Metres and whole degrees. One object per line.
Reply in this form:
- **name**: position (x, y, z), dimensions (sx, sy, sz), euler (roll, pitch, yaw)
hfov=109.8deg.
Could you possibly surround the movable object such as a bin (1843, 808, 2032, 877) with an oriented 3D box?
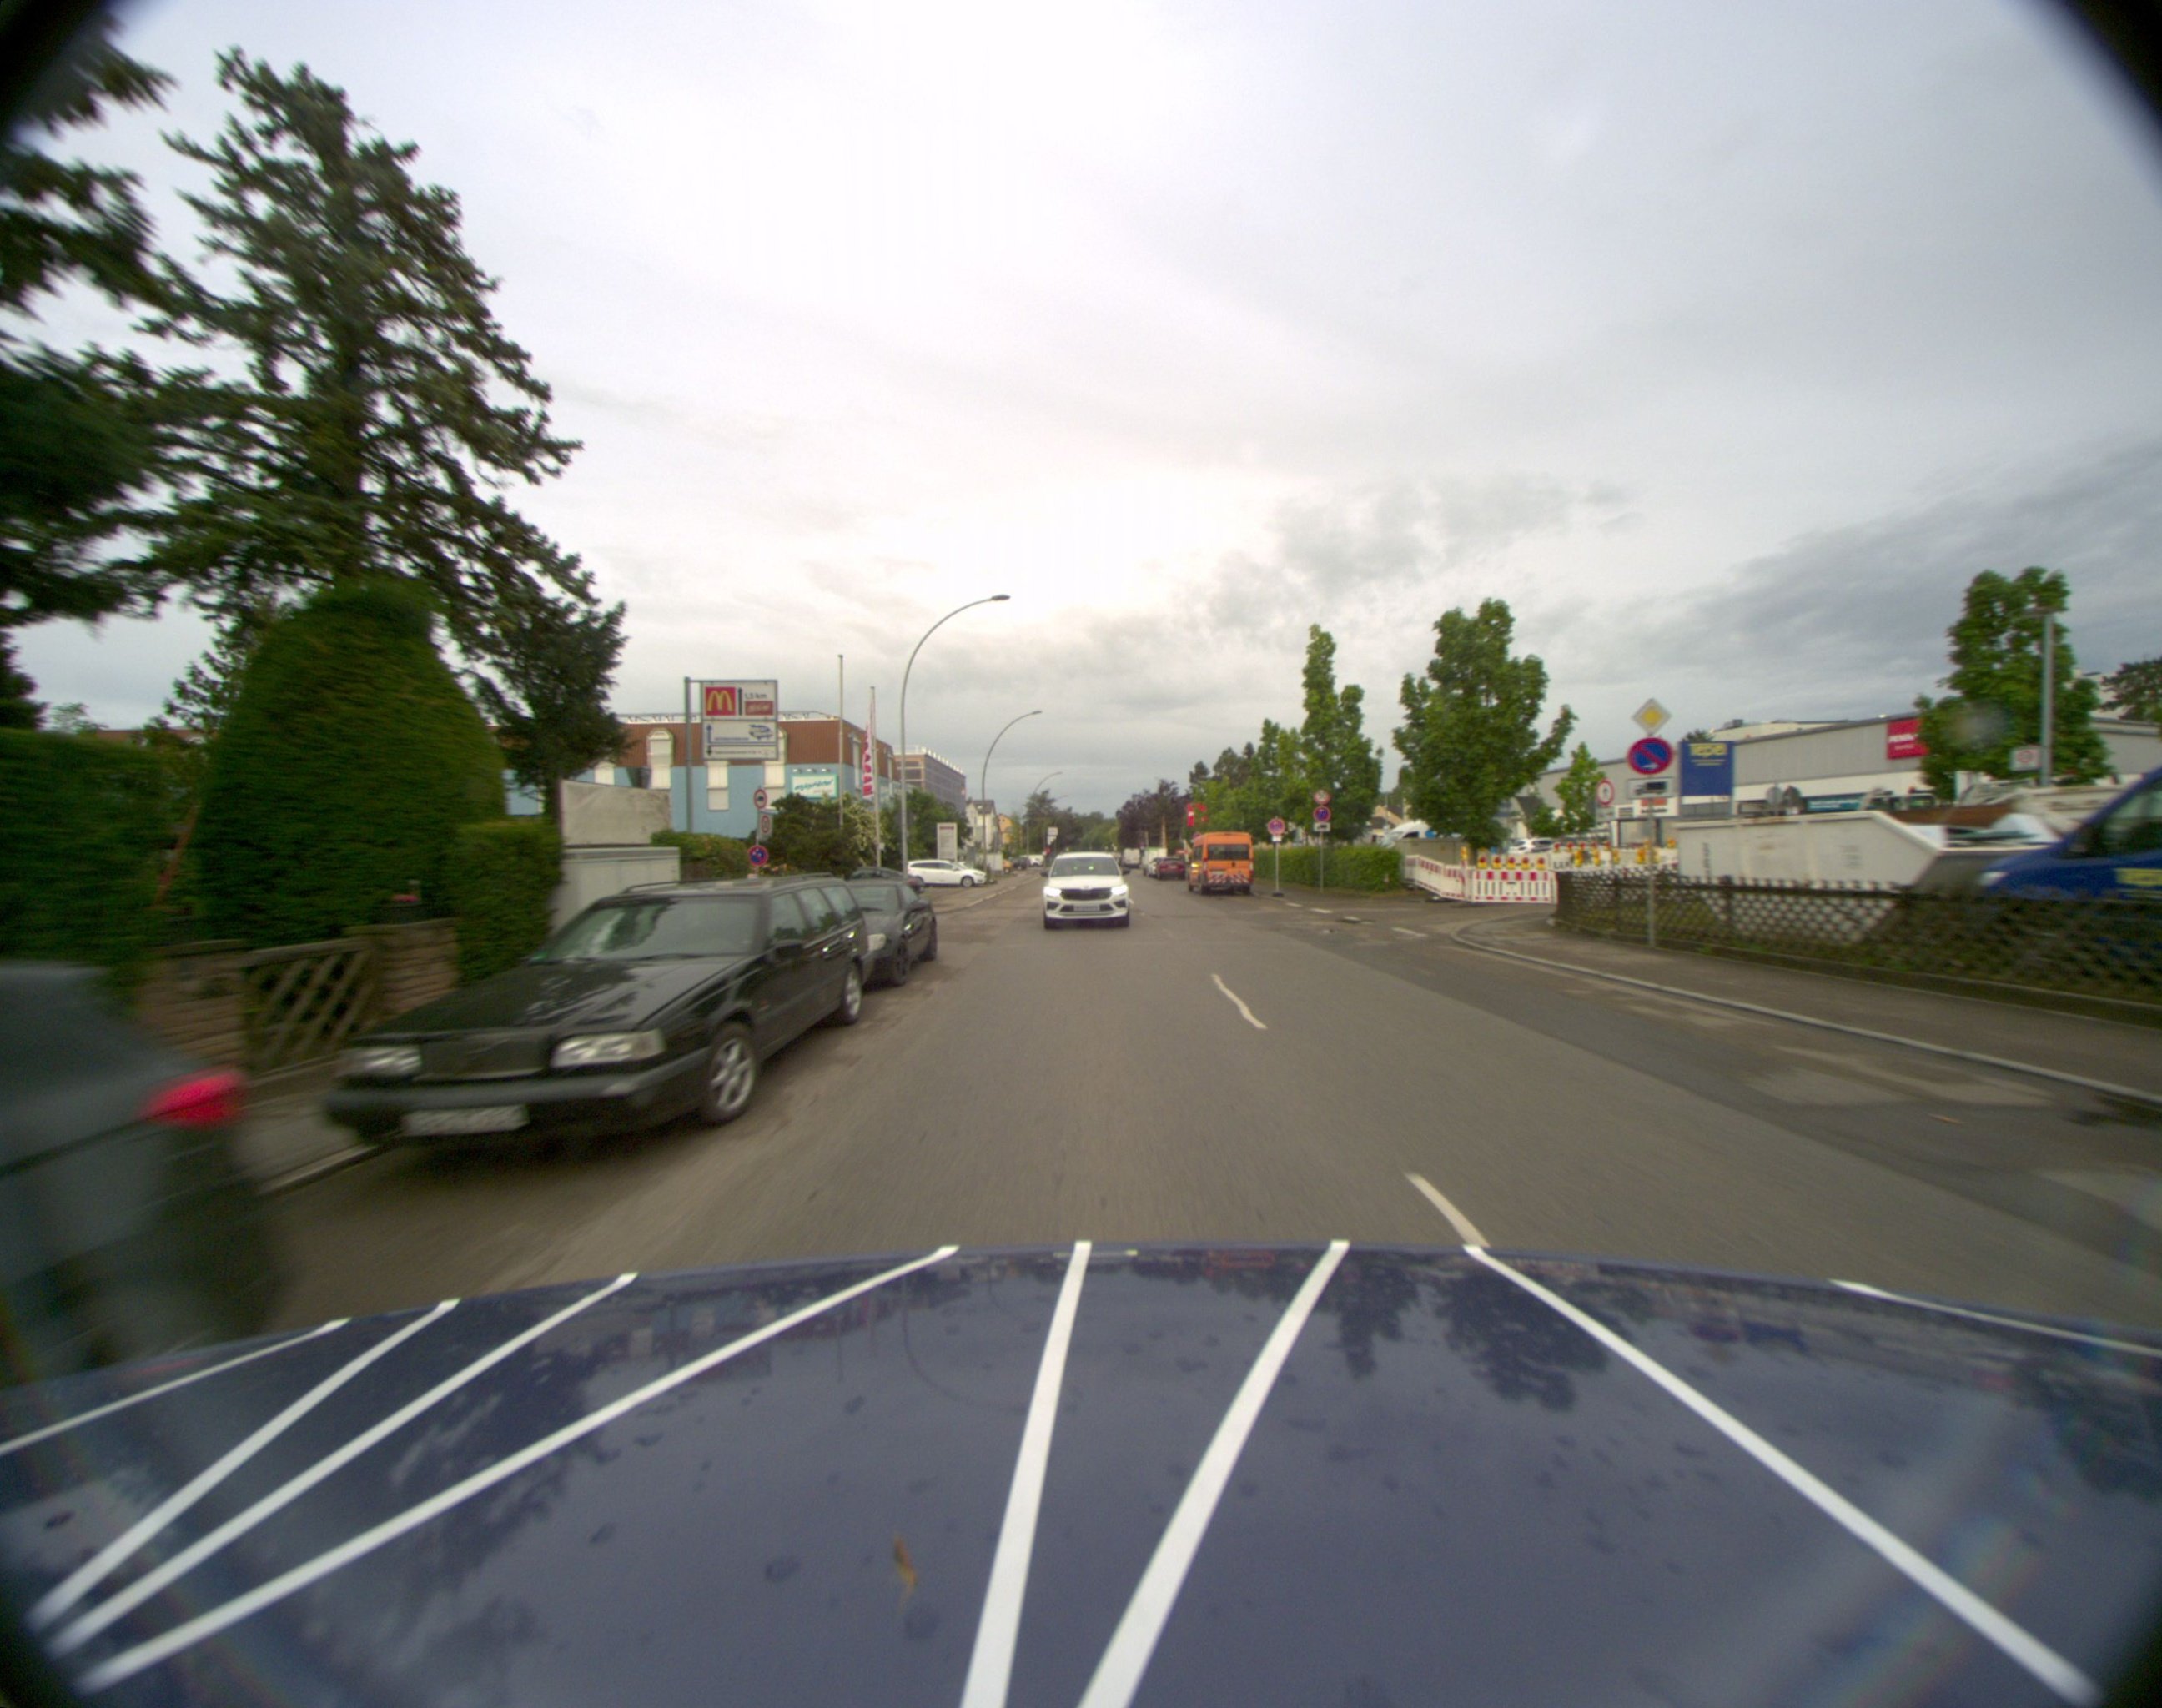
- **movable object such as a bin**: position (24.842, -0.339, 22.127), dimensions (3.432, 1.749, 1.999), euler (-3, 1, -6)

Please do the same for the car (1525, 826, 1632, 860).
- **car**: position (25.055, -0.540, 38.389), dimensions (4.064, 1.469, 1.917), euler (-3, 1, 2)

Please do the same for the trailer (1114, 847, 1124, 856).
- **trailer**: position (7.968, -0.469, 158.322), dimensions (1.934, 1.755, 4.547), euler (-2, 1, 1)

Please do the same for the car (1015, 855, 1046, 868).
- **car**: position (-7.491, 1.141, 112.770), dimensions (4.456, 1.615, 1.893), euler (-3, 1, 0)

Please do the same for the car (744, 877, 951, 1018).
- **car**: position (-2.994, 1.121, 10.651), dimensions (1.594, 1.333, 4.092), euler (-4, 1, -1)

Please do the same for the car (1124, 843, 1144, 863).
- **car**: position (6.935, -0.177, 99.963), dimensions (2.163, 2.413, 6.459), euler (1, 1, 1)

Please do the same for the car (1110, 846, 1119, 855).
- **car**: position (8.069, -0.858, 184.242), dimensions (1.898, 1.881, 5.209), euler (0, 1, 1)

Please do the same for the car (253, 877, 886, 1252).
- **car**: position (-2.922, 1.028, 5.844), dimensions (1.661, 1.411, 4.775), euler (-3, 1, -2)

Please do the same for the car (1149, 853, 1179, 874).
- **car**: position (6.266, 0.675, 57.772), dimensions (1.777, 1.490, 4.136), euler (-2, 0, 0)

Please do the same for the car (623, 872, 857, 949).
- **car**: position (-7.037, 1.139, 16.024), dimensions (3.997, 1.259, 1.950), euler (-3, 1, -1)

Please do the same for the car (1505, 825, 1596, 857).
- **car**: position (25.208, -0.699, 40.876), dimensions (3.901, 1.511, 1.694), euler (-3, 1, -4)

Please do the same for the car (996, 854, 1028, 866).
- **car**: position (-9.030, 0.776, 99.531), dimensions (3.976, 1.481, 1.833), euler (-2, 1, 2)

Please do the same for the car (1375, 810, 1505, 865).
- **car**: position (14.738, -0.683, 31.389), dimensions (4.317, 2.002, 2.062), euler (-3, 1, 1)

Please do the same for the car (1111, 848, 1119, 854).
- **car**: position (8.072, -0.682, 178.922), dimensions (1.821, 1.419, 4.980), euler (0, 1, 1)

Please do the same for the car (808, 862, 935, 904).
- **car**: position (-7.568, 1.038, 27.707), dimensions (3.996, 1.259, 1.951), euler (-3, 1, 3)

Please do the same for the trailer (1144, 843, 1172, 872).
- **trailer**: position (6.466, 0.270, 64.186), dimensions (1.817, 2.300, 4.729), euler (1, 1, 0)

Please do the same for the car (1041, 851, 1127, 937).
- **car**: position (0.011, 0.809, 17.703), dimensions (1.692, 1.651, 3.999), euler (-3, 1, -1)

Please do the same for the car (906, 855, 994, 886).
- **car**: position (-7.014, 0.870, 40.943), dimensions (4.349, 1.467, 1.902), euler (-2, 1, 0)

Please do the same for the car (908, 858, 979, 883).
- **car**: position (-9.297, 1.113, 51.742), dimensions (4.427, 1.385, 1.880), euler (-3, 0, -1)

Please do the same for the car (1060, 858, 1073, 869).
- **car**: position (-2.130, 1.418, 112.256), dimensions (1.743, 1.458, 4.544), euler (-3, 1, 0)

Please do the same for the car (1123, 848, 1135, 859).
- **car**: position (7.591, -0.087, 121.512), dimensions (1.665, 1.575, 3.915), euler (0, 1, 0)

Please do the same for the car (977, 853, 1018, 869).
- **car**: position (-8.433, 0.703, 77.123), dimensions (3.997, 1.422, 1.630), euler (-2, 1, -1)

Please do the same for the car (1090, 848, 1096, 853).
- **car**: position (3.941, -1.224, 247.684), dimensions (1.898, 1.678, 4.230), euler (0, 1, 1)

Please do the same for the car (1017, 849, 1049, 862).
- **car**: position (-7.419, 0.217, 118.172), dimensions (4.743, 1.875, 2.000), euler (-3, 1, 1)

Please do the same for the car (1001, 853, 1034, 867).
- **car**: position (-8.470, 0.764, 101.672), dimensions (4.237, 1.665, 1.980), euler (-3, 1, 0)

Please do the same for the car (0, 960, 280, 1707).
- **car**: position (-3.034, 1.047, 0.131), dimensions (1.661, 1.440, 3.829), euler (-3, 0, 0)

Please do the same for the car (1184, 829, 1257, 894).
- **car**: position (5.962, 0.278, 33.222), dimensions (2.130, 2.523, 6.021), euler (-2, 0, 1)

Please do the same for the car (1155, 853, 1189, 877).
- **car**: position (6.253, 0.713, 52.806), dimensions (1.810, 1.564, 4.342), euler (-1, 0, 0)

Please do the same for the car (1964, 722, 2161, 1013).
- **car**: position (10.470, 0.108, 5.035), dimensions (2.080, 2.553, 6.201), euler (-3, 1, 1)

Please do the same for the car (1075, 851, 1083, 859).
- **car**: position (-0.521, 0.305, 186.313), dimensions (1.736, 1.817, 5.552), euler (-4, 1, 2)
